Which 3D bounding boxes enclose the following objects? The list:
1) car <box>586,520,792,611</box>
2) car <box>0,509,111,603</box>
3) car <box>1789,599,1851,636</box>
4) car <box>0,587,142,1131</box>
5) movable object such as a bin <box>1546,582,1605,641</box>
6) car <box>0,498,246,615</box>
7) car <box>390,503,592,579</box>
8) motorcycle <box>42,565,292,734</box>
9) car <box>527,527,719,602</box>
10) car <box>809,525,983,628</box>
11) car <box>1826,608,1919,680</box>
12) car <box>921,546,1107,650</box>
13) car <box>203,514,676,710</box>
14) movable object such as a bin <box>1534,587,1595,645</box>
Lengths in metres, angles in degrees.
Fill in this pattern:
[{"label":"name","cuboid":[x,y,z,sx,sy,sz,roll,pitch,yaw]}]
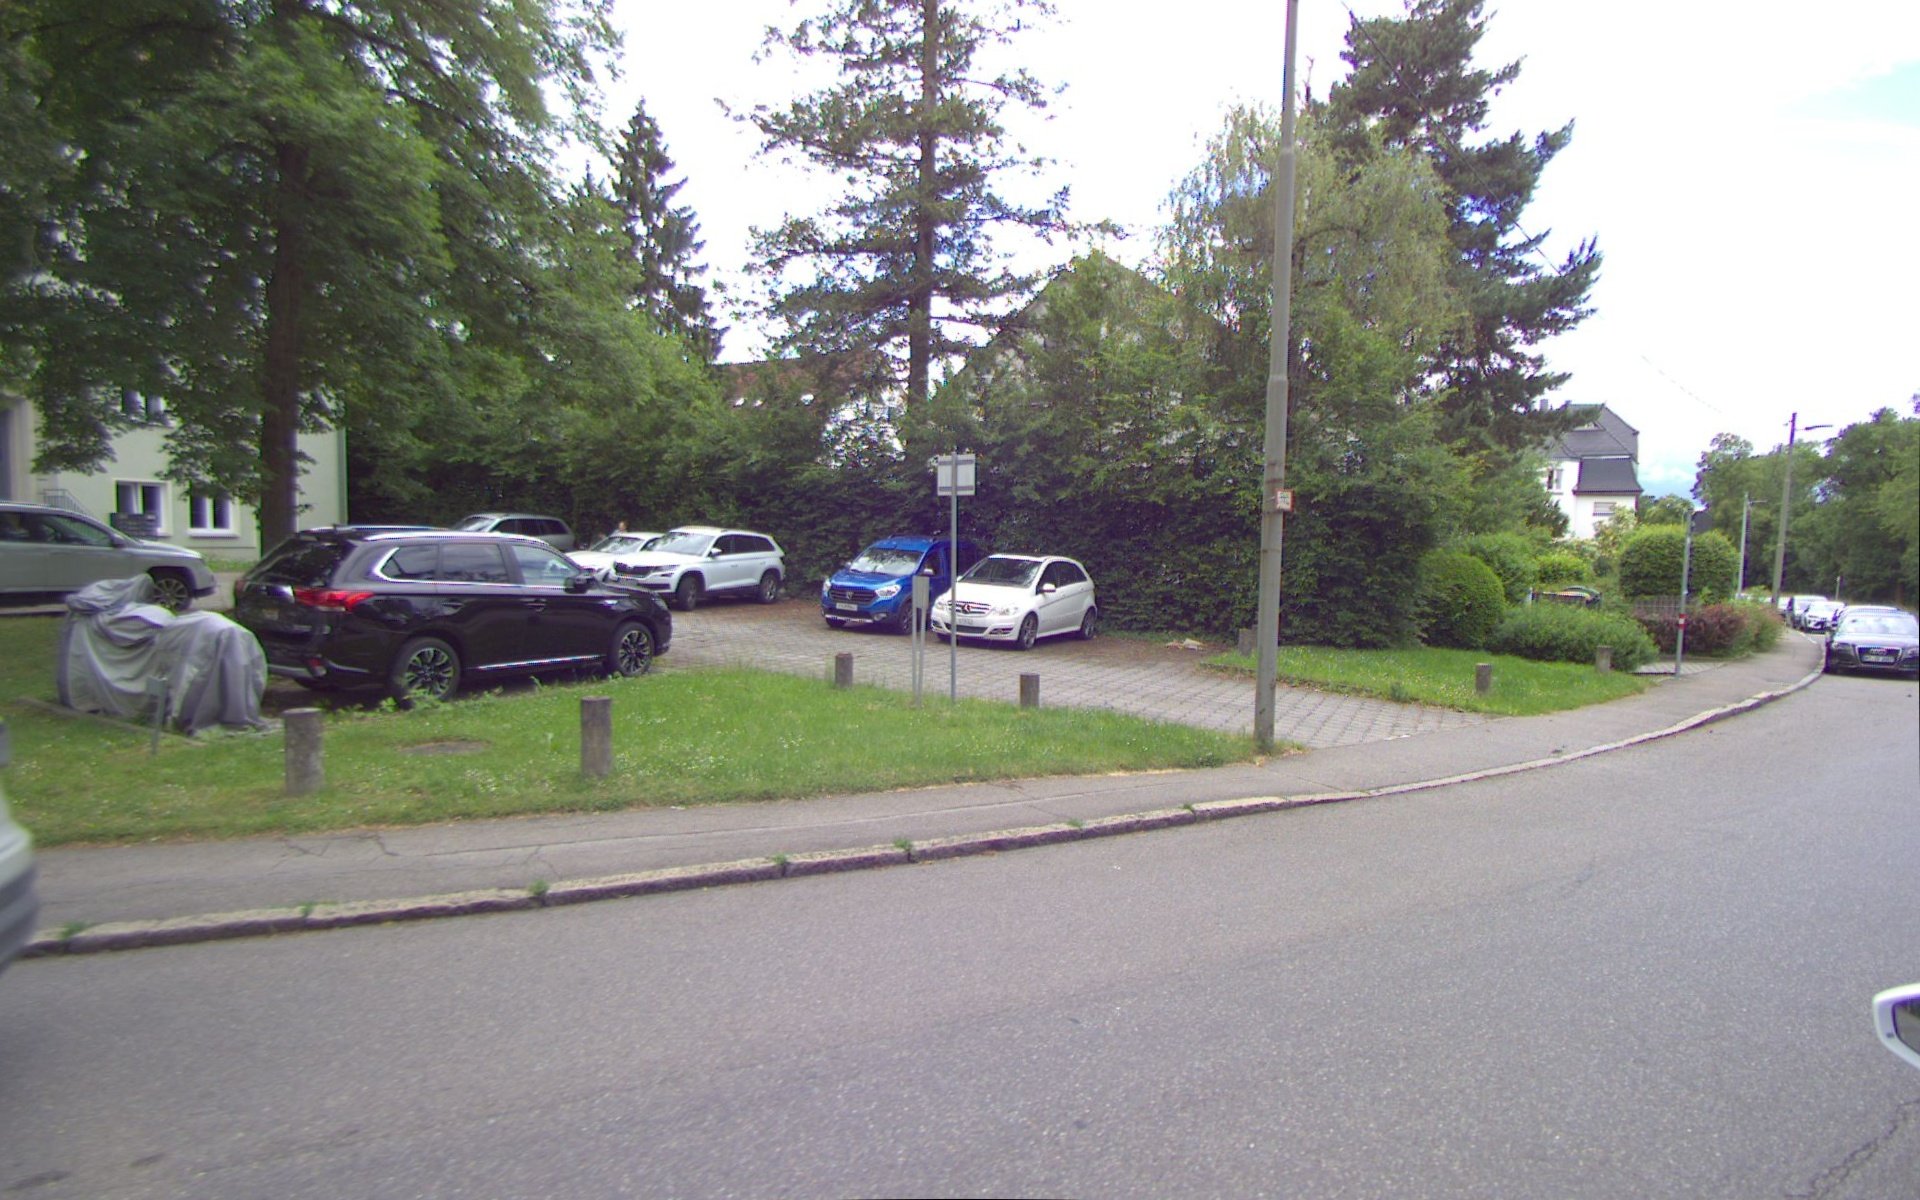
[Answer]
[{"label":"car","cuboid":[-5.774,-0.783,22.016,1.970,1.700,4.493,4,4,23]},{"label":"car","cuboid":[-15.399,-0.702,15.208,1.480,1.418,3.597,4,4,26]},{"label":"car","cuboid":[41.574,0.812,48.629,1.701,1.512,4.399,8,4,35]},{"label":"car","cuboid":[-4.508,0.661,2.075,4.025,1.476,1.719,1,-1,-26]},{"label":"movable object such as a bin","cuboid":[16.721,0.288,27.285,1.080,1.487,1.446,5,5,40]},{"label":"car","cuboid":[-13.354,-0.673,14.556,1.919,1.554,4.586,4,4,24]},{"label":"car","cuboid":[-12.016,-1.498,26.054,1.716,1.754,4.618,4,4,29]},{"label":"motorcycle","cuboid":[-6.578,0.345,8.313,2.028,1.167,0.864,4,3,27]},{"label":"car","cuboid":[-7.761,-0.849,23.553,1.844,1.513,4.193,4,4,26]},{"label":"car","cuboid":[-1.143,-0.519,19.990,1.713,1.756,4.261,4,4,22]},{"label":"car","cuboid":[21.155,0.942,23.119,1.715,1.437,4.479,3,2,42]},{"label":"car","cuboid":[1.127,-0.086,18.584,1.715,1.615,4.264,4,3,28]},{"label":"car","cuboid":[-5.237,0.029,10.795,1.715,1.615,4.327,4,3,26]},{"label":"movable object such as a bin","cuboid":[15.736,0.388,26.138,1.100,1.382,1.387,5,5,40]}]
